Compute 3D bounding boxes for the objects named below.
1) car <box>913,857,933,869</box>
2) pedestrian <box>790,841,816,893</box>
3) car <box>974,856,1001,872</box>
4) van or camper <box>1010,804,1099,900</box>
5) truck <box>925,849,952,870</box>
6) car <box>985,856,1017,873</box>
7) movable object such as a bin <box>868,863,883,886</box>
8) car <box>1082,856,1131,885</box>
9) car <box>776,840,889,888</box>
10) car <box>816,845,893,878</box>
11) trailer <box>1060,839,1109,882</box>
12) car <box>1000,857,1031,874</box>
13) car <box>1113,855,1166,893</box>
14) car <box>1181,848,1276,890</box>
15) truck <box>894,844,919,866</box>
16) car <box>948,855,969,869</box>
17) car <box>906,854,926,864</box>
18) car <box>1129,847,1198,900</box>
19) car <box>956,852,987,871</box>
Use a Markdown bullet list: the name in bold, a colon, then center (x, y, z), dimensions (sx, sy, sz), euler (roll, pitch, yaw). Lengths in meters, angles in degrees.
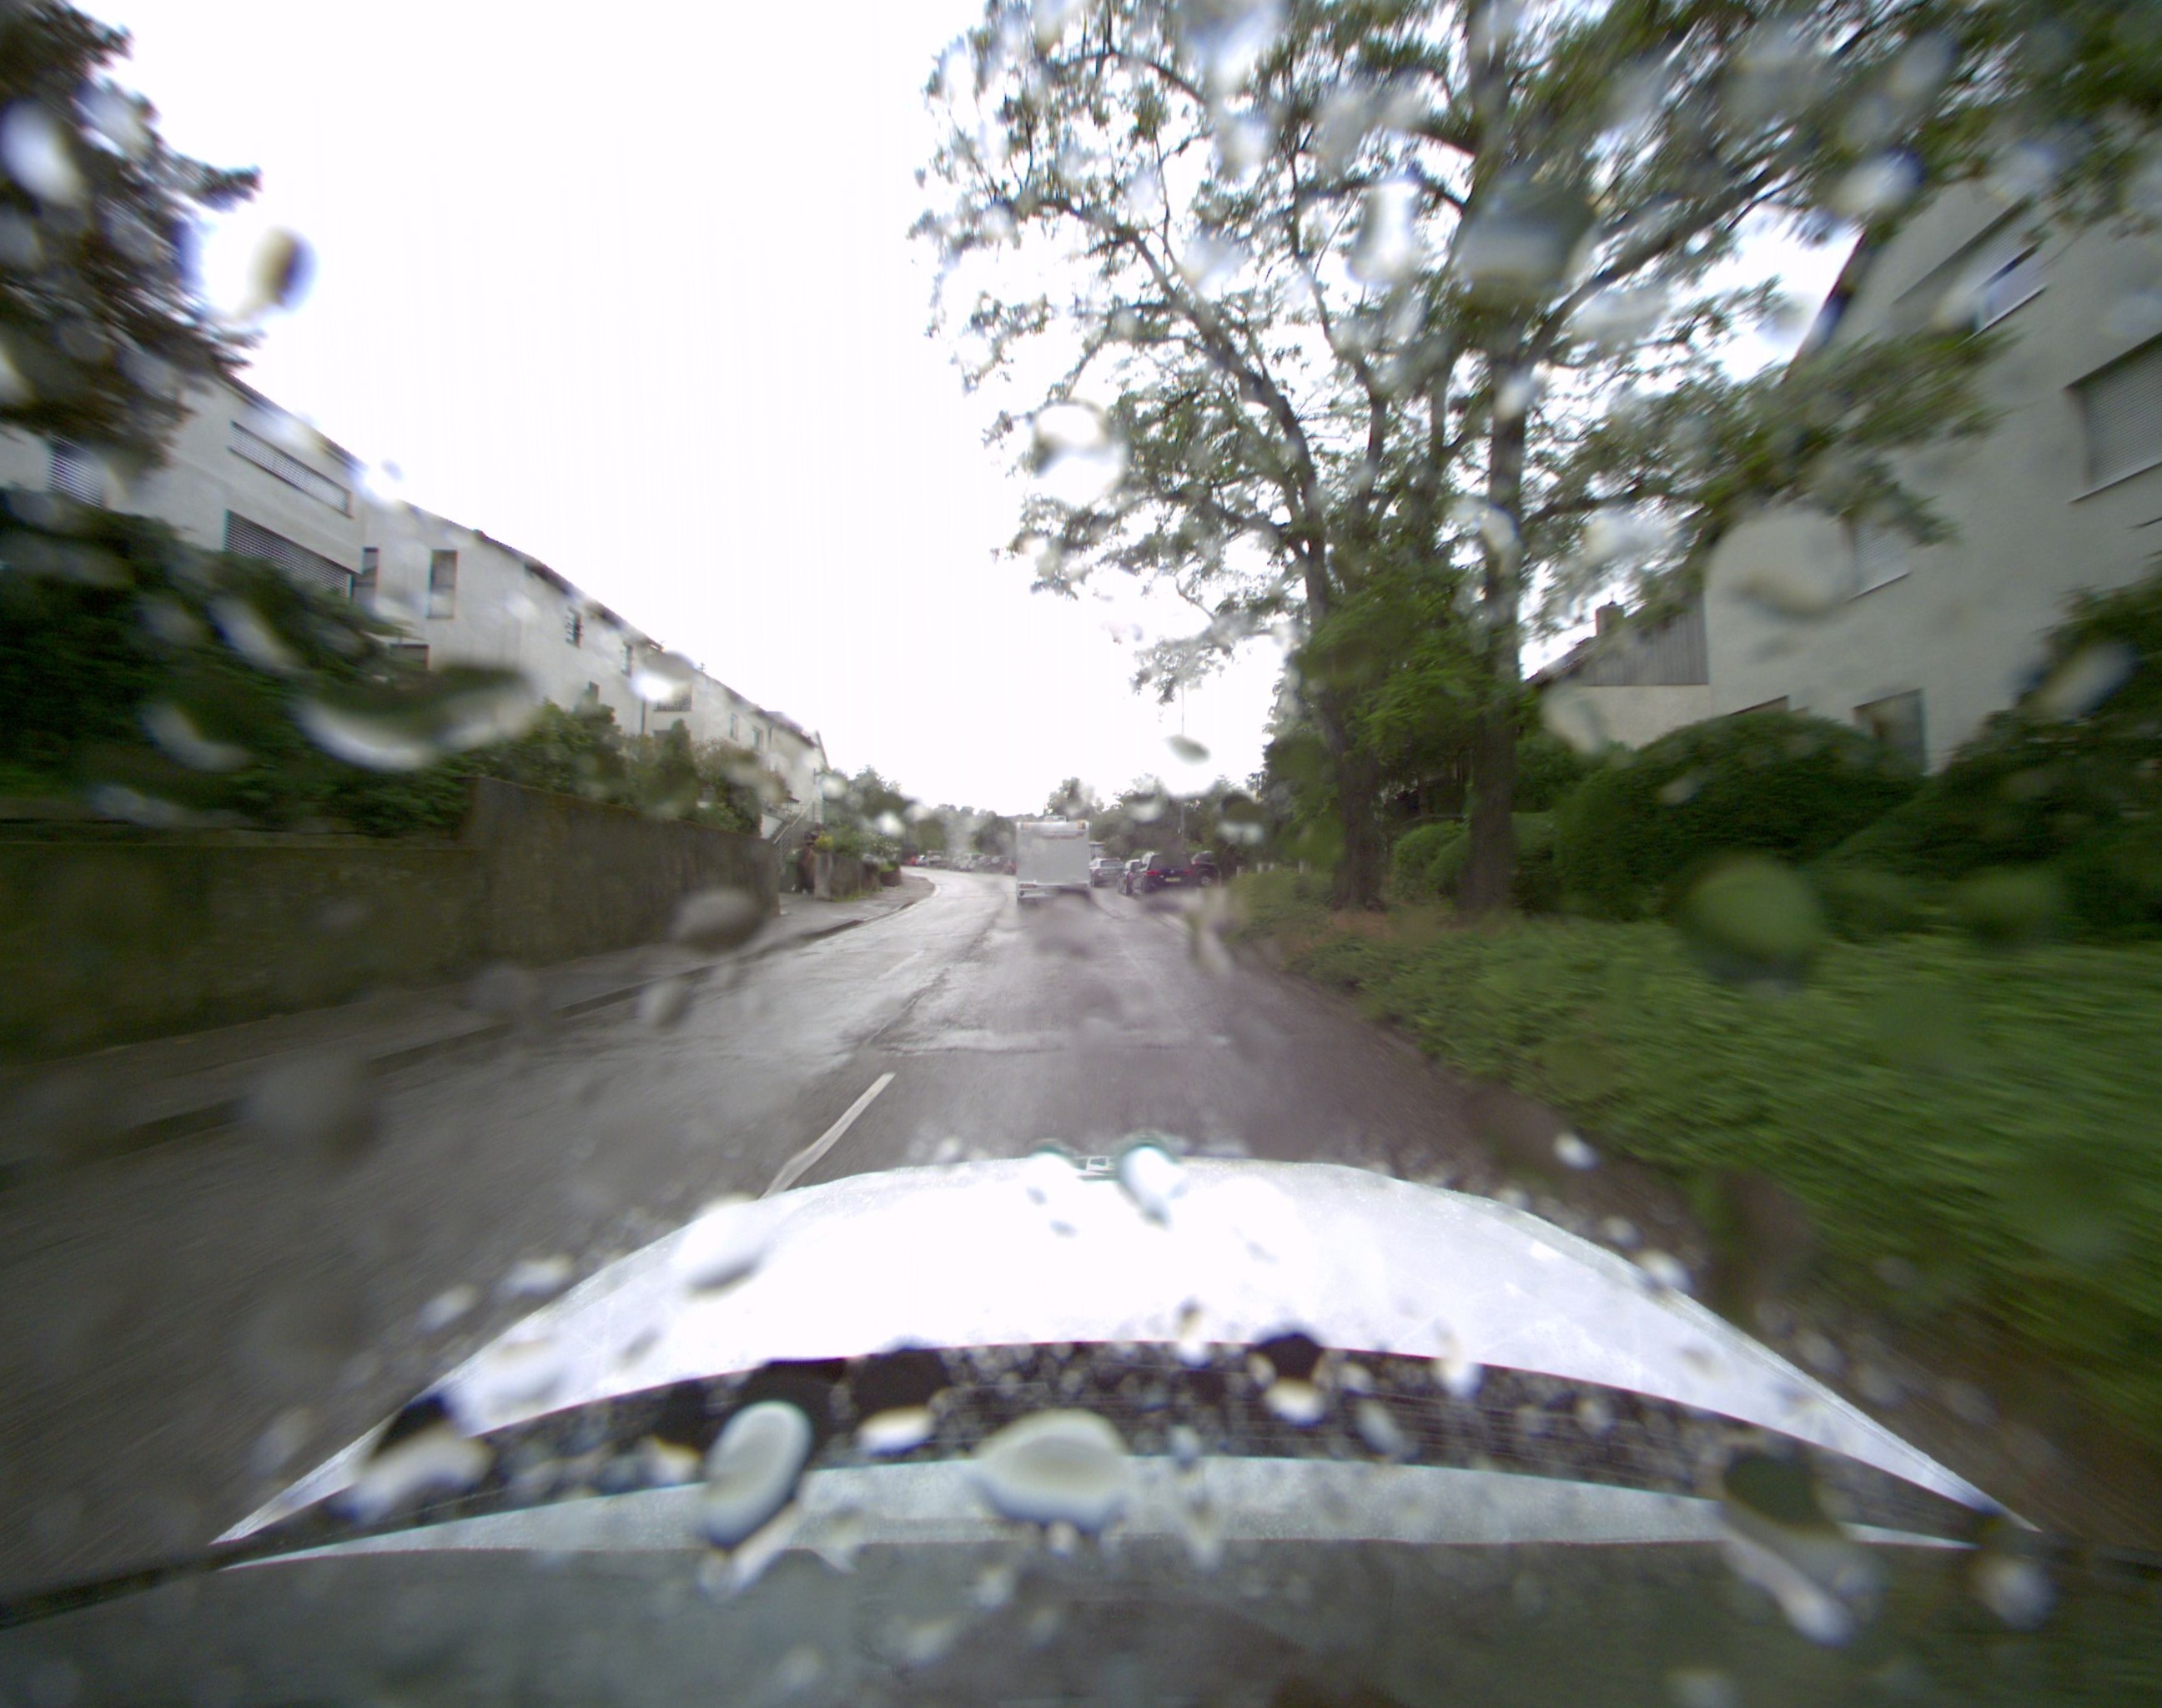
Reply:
- **car**: center (-21.339, 1.179, 109.780), dimensions (1.766, 1.604, 4.632), euler (0, -1, -22)
- **pedestrian**: center (-8.948, 0.402, 26.248), dimensions (0.656, 1.649, 0.730), euler (1, 1, -10)
- **car**: center (-9.279, 0.983, 80.702), dimensions (1.650, 1.541, 4.323), euler (0, -1, -20)
- **van or camper**: center (-1.008, 0.063, 27.497), dimensions (2.611, 2.853, 6.020), euler (1, -2, -4)
- **truck**: center (-18.132, 0.697, 103.096), dimensions (2.247, 2.631, 6.493), euler (0, -1, -20)
- **car**: center (-7.413, 0.962, 75.392), dimensions (1.822, 1.506, 4.691), euler (0, -1, -20)
- **movable object such as a bin**: center (-9.989, 0.991, 39.646), dimensions (0.537, 1.076, 0.741), euler (6, -1, -9)
- **car**: center (1.299, 0.828, 42.930), dimensions (1.746, 1.424, 4.689), euler (0, -1, -9)
- **car**: center (-11.224, 0.470, 37.105), dimensions (4.505, 1.614, 1.927), euler (6, -2, -7)
- **car**: center (-14.547, 0.480, 52.438), dimensions (4.240, 1.432, 1.765), euler (9, -2, -2)
- **trailer**: center (0.147, 0.372, 49.412), dimensions (1.949, 2.457, 5.414), euler (0, -1, -11)
- **car**: center (-5.683, 0.981, 70.553), dimensions (1.741, 1.414, 3.827), euler (0, -1, -19)
- **car**: center (2.380, 0.799, 33.754), dimensions (1.631, 1.457, 3.694), euler (0, -1, -5)
- **car**: center (6.853, 0.689, 38.134), dimensions (3.995, 1.688, 1.775), euler (4, -1, -3)
- **truck**: center (-26.542, 0.181, 123.810), dimensions (2.446, 3.335, 7.907), euler (0, -1, -22)
- **car**: center (-13.739, 0.892, 91.104), dimensions (1.653, 1.563, 3.936), euler (0, -1, -20)
- **car**: center (-23.697, 0.749, 116.992), dimensions (1.839, 1.438, 4.949), euler (0, -1, -22)
- **car**: center (2.766, 0.635, 28.326), dimensions (1.825, 1.701, 4.457), euler (0, -1, -2)
- **car**: center (-11.577, 0.814, 85.853), dimensions (1.857, 1.882, 4.871), euler (0, -1, -24)
